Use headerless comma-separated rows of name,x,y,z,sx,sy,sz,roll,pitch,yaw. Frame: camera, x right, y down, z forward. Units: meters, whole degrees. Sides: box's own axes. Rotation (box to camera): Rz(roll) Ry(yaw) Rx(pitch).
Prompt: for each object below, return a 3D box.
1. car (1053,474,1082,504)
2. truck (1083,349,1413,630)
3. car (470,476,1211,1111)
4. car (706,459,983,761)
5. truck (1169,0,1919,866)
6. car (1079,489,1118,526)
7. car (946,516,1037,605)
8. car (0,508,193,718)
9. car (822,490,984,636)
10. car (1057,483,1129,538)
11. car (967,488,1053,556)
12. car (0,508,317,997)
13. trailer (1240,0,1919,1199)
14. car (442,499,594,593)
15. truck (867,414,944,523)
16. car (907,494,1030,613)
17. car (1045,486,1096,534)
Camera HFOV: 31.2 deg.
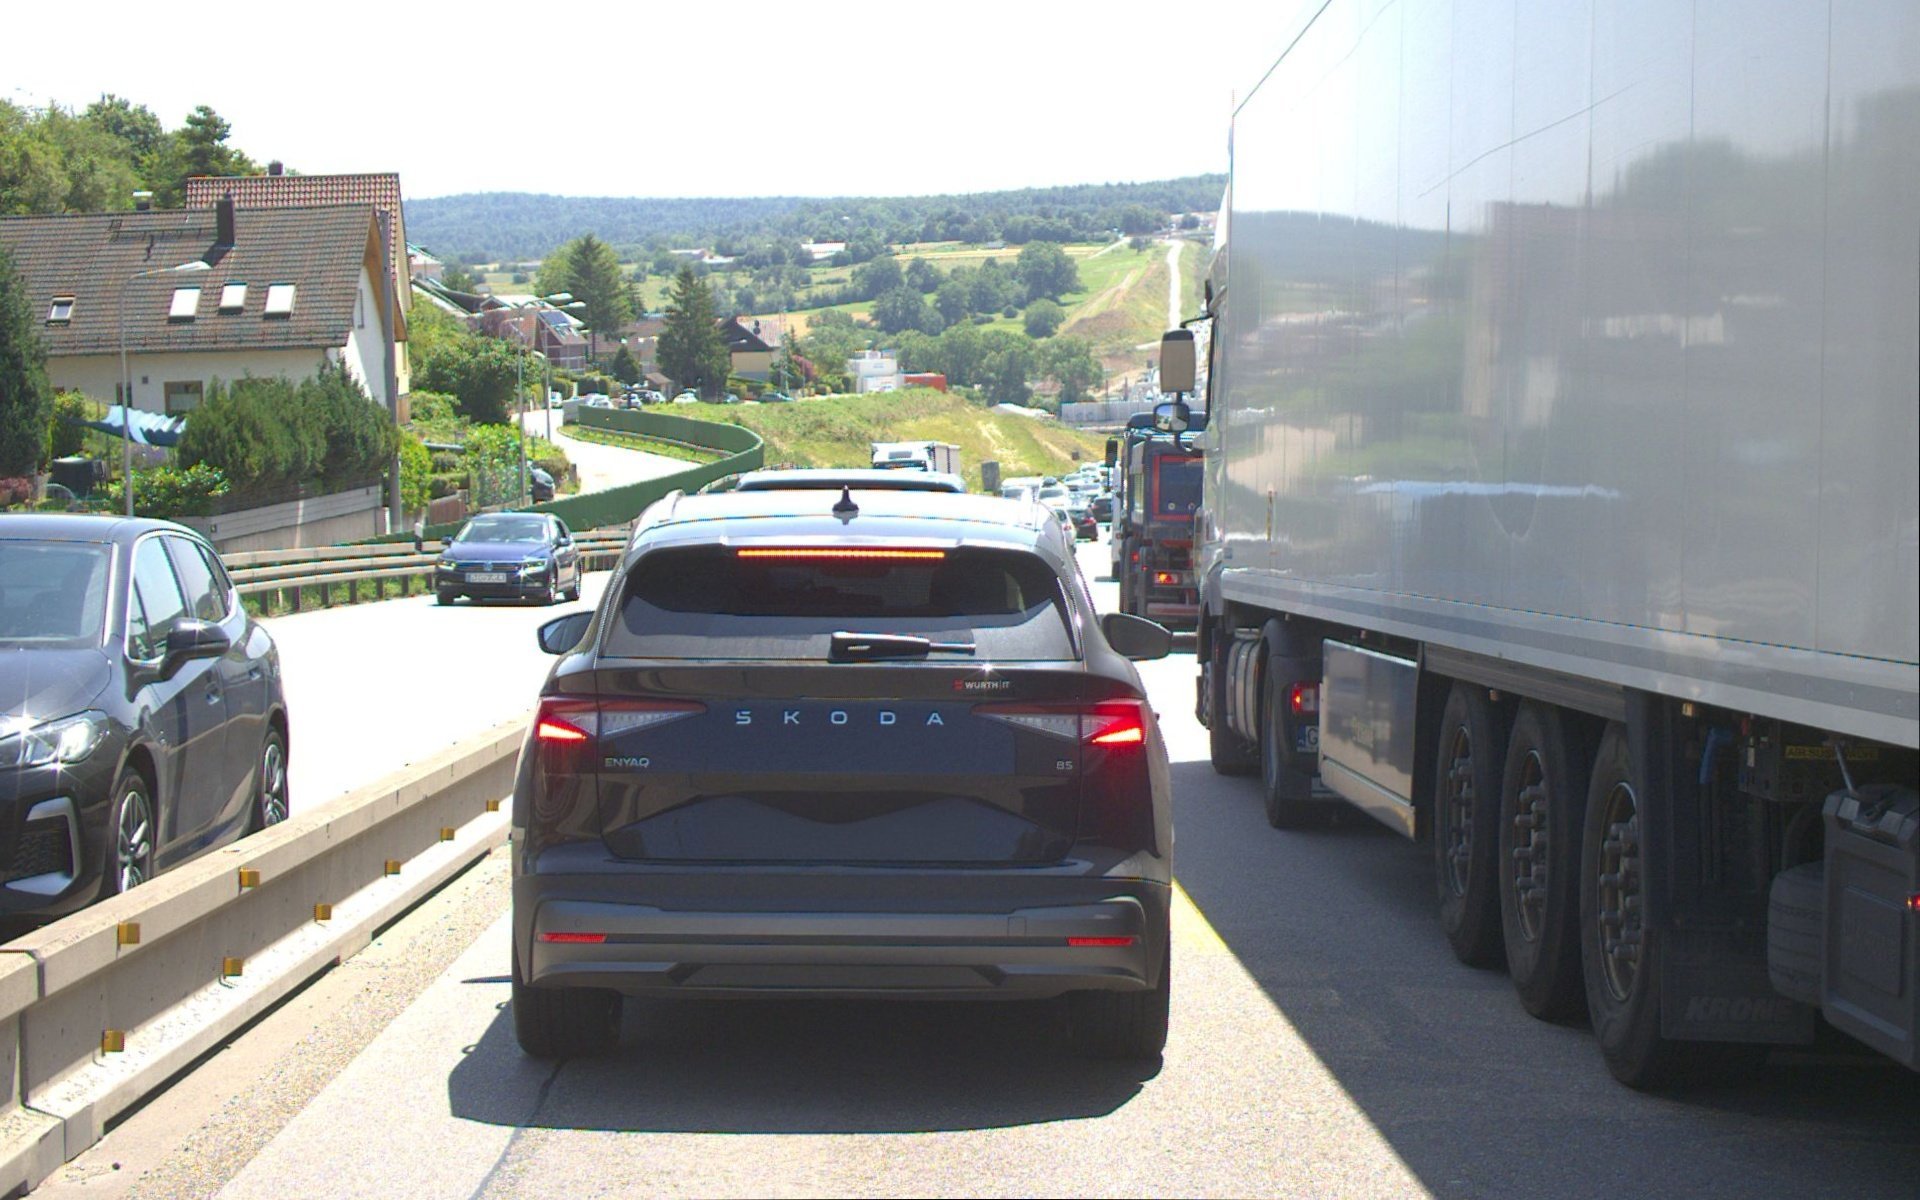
car,6.588,-6.766,210.218,1.701,1.722,3.836,1,1,3
truck,3.518,-1.346,45.609,3.195,3.180,12.809,0,1,0
car,-0.436,0.466,10.598,1.842,1.581,3.908,1,1,-4
car,-0.864,-0.014,23.526,1.706,1.875,4.001,1,2,-4
truck,2.717,-0.966,18.429,2.513,4.011,8.238,1,1,-1
car,6.672,-4.446,165.161,1.701,1.722,3.836,1,1,4
car,0.595,-0.799,68.000,1.707,1.616,4.001,1,2,-1
car,-7.517,0.046,27.820,1.732,1.484,4.001,0,3,0
car,-0.728,-0.489,41.369,1.706,1.616,4.001,1,2,-4
car,3.964,-2.665,103.001,1.993,1.579,3.836,1,1,0
car,1.198,-1.853,82.714,1.993,1.579,3.836,1,1,0
car,-3.783,0.438,13.250,1.819,1.581,4.159,2,1,-1
trailer,2.850,-0.797,11.810,2.531,4.112,11.549,1,1,-1
car,-7.014,-0.858,54.972,1.841,1.413,4.687,-1,1,0
truck,-2.168,-5.260,138.401,2.752,4.268,4.957,1,2,3
car,0.095,-0.713,50.547,1.707,1.616,4.001,1,2,-1
car,4.154,-3.351,128.831,1.701,1.722,3.836,1,1,4
